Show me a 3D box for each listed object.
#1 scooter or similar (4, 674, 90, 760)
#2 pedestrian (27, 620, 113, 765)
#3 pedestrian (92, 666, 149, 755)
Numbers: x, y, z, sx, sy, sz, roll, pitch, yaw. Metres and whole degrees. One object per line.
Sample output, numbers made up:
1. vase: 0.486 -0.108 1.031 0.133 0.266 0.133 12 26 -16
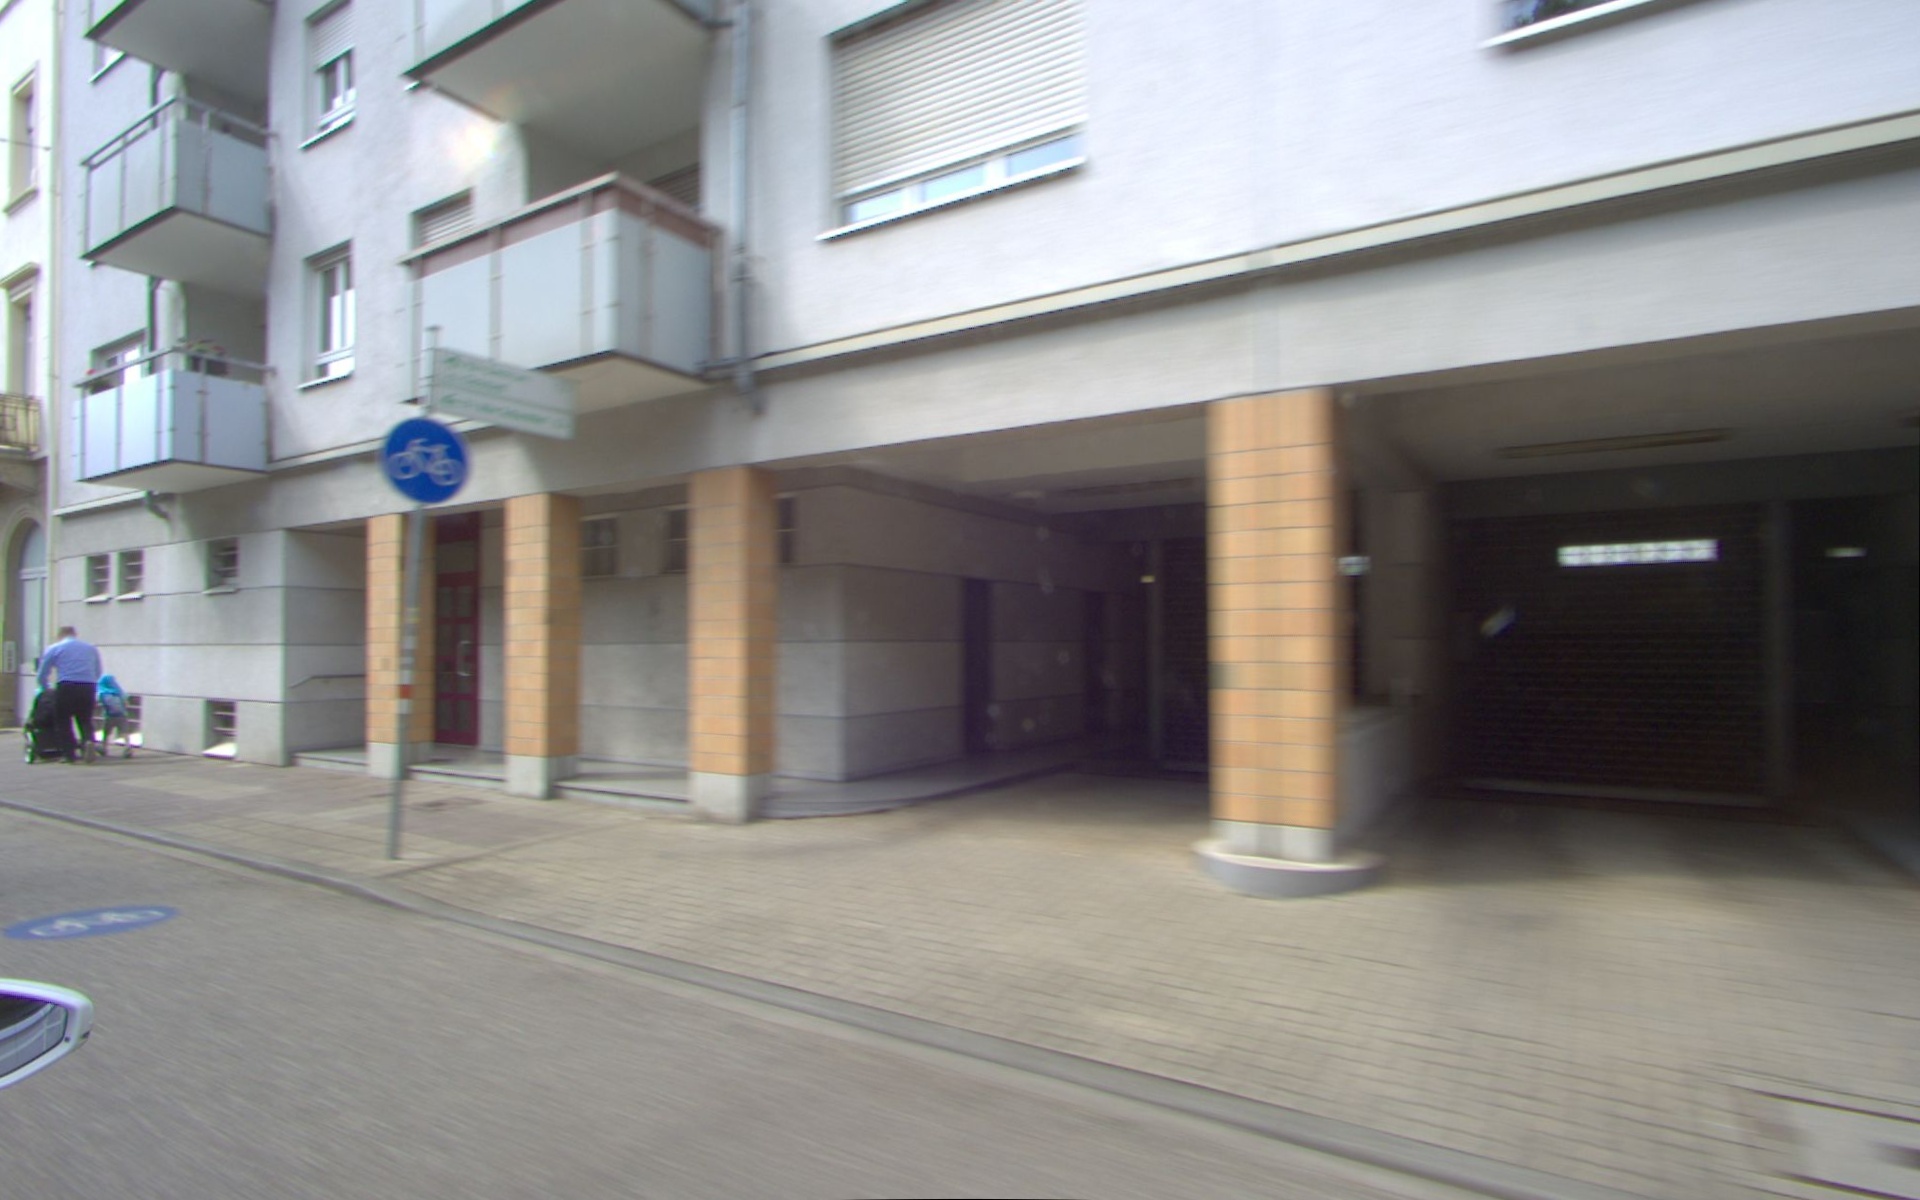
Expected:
1. scooter or similar: -12.028 1.519 13.194 0.893 1.016 0.590 -1 2 34
2. pedestrian: -11.284 1.146 12.692 0.865 1.761 0.619 -1 -1 34
3. pedestrian: -11.257 1.465 13.425 0.487 1.149 0.455 -1 -2 33
